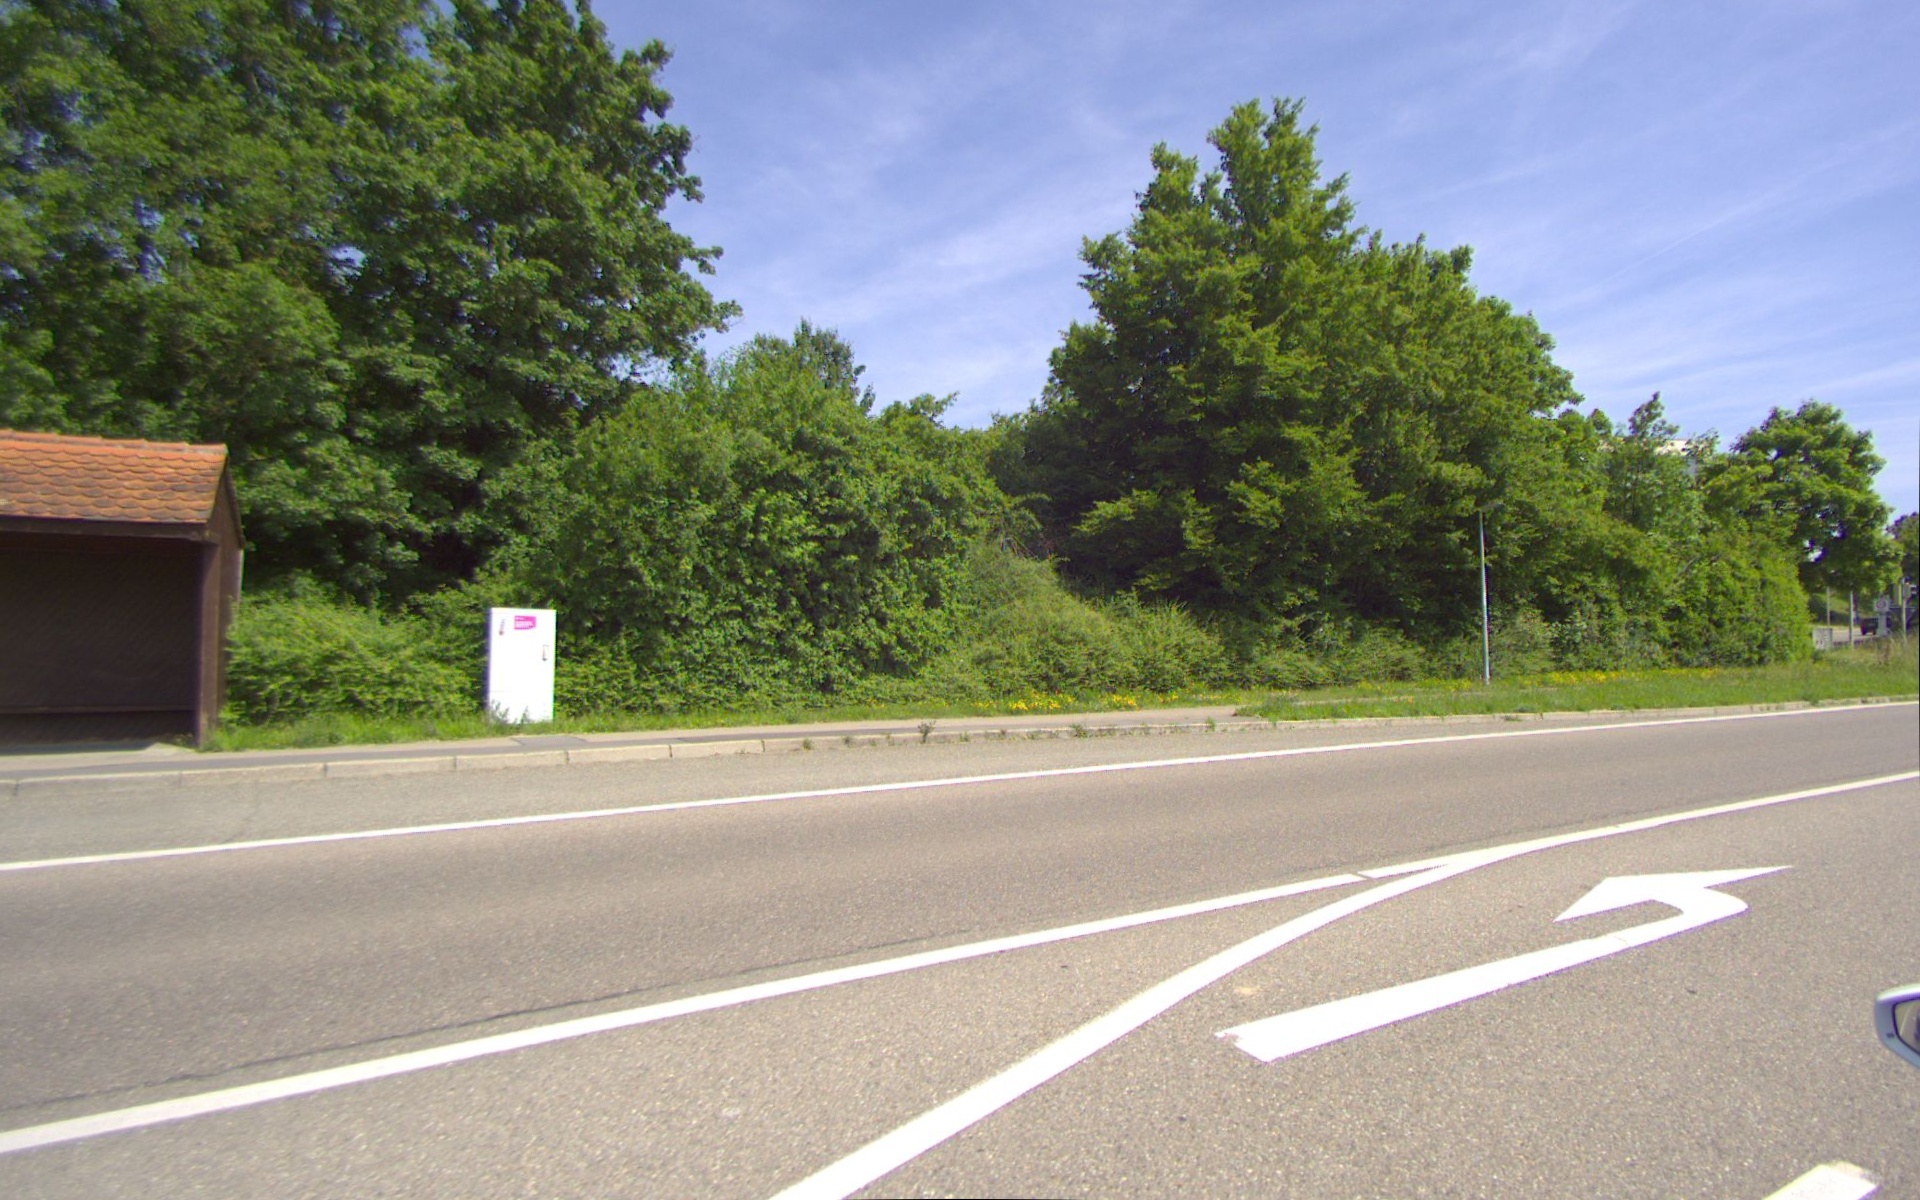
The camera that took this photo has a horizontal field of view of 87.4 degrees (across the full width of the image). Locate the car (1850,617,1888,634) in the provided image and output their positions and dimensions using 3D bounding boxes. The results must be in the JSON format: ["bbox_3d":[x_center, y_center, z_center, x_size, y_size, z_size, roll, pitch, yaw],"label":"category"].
[{"bbox_3d":[85.451,2.395,94.447,3.964,1.572,1.979,1,-1,-38],"label":"car"}]
